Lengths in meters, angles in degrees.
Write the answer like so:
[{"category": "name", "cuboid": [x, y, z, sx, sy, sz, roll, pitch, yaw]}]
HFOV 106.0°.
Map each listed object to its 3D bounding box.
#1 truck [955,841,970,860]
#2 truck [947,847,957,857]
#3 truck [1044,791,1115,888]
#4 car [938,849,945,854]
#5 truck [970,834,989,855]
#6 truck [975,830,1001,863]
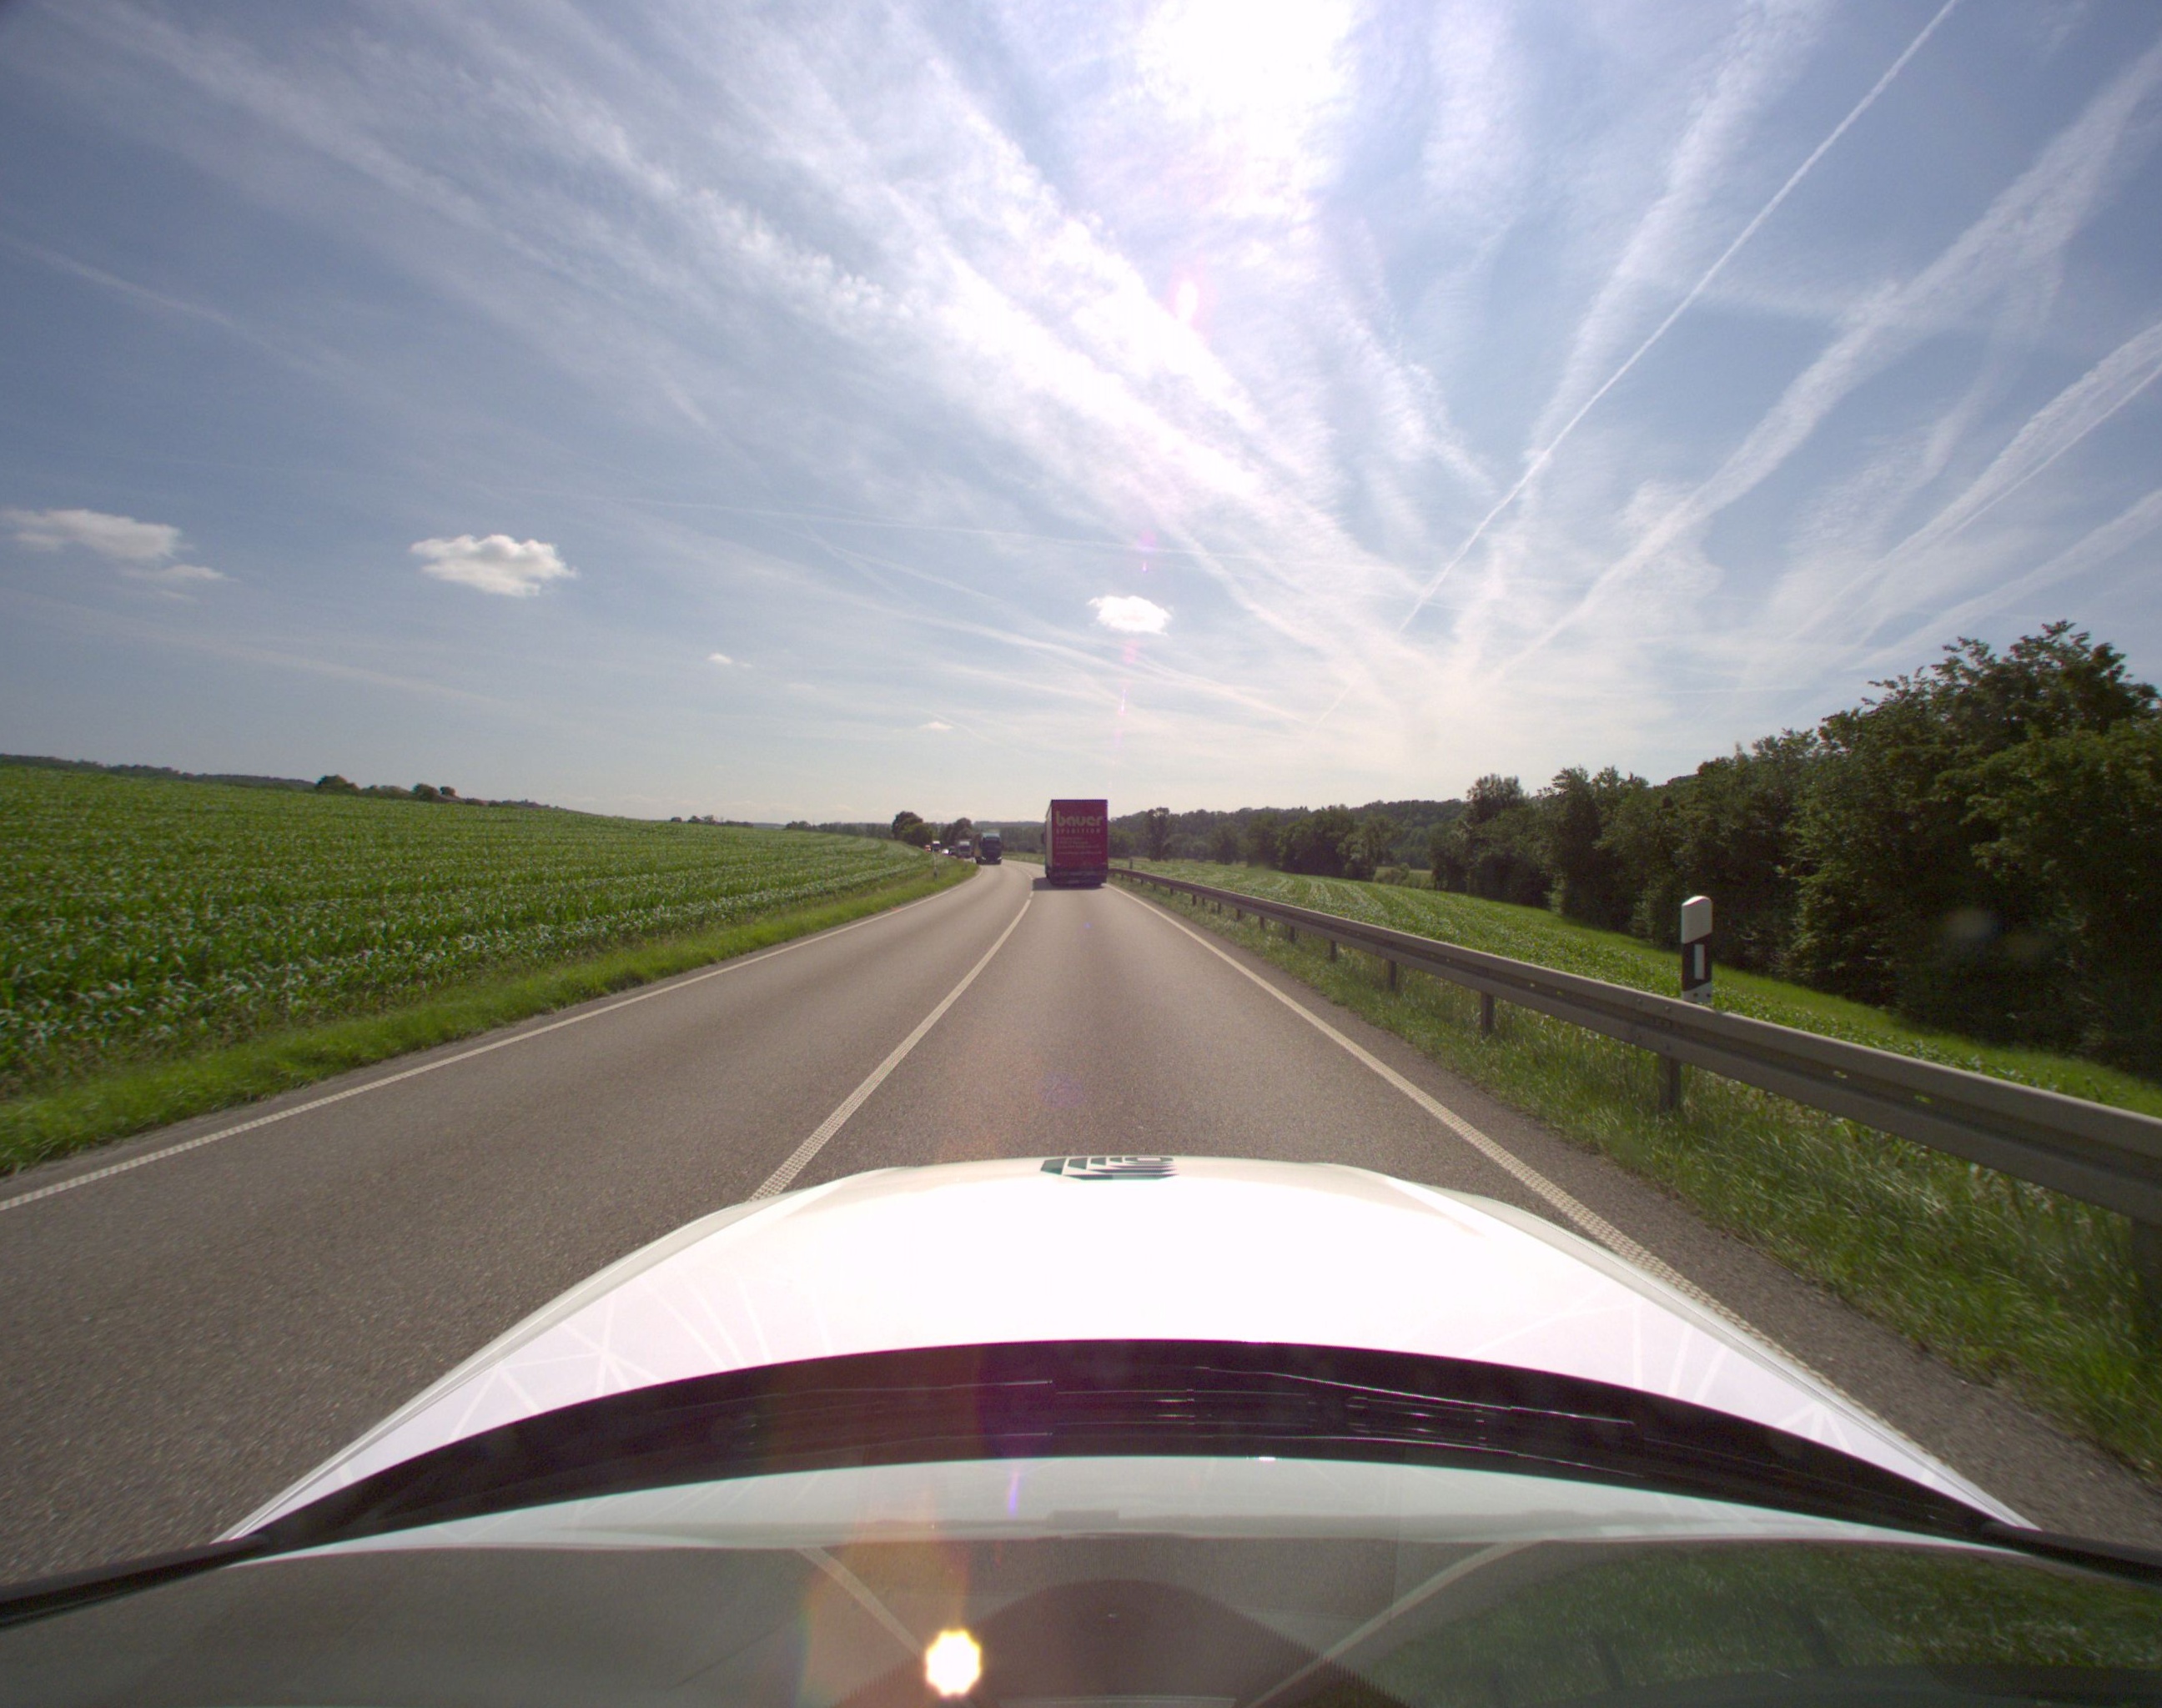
[{"category": "truck", "cuboid": [-23.177, -0.745, 159.336, 2.740, 3.578, 9.697, 0, 0, -9]}, {"category": "truck", "cuboid": [-29.338, -0.479, 185.679, 2.011, 2.320, 5.170, 0, 0, -12]}, {"category": "truck", "cuboid": [-0.214, -0.628, 39.946, 3.086, 4.262, 8.307, -1, 0, -2]}, {"category": "car", "cuboid": [-37.672, -0.621, 220.422, 1.729, 1.440, 4.161, -1, 1, -11]}, {"category": "truck", "cuboid": [-22.333, -1.943, 178.927, 3.640, 4.292, 11.945, -1, -1, -10]}, {"category": "truck", "cuboid": [-12.516, -0.962, 108.416, 2.770, 3.998, 16.976, 0, 0, -9]}]
